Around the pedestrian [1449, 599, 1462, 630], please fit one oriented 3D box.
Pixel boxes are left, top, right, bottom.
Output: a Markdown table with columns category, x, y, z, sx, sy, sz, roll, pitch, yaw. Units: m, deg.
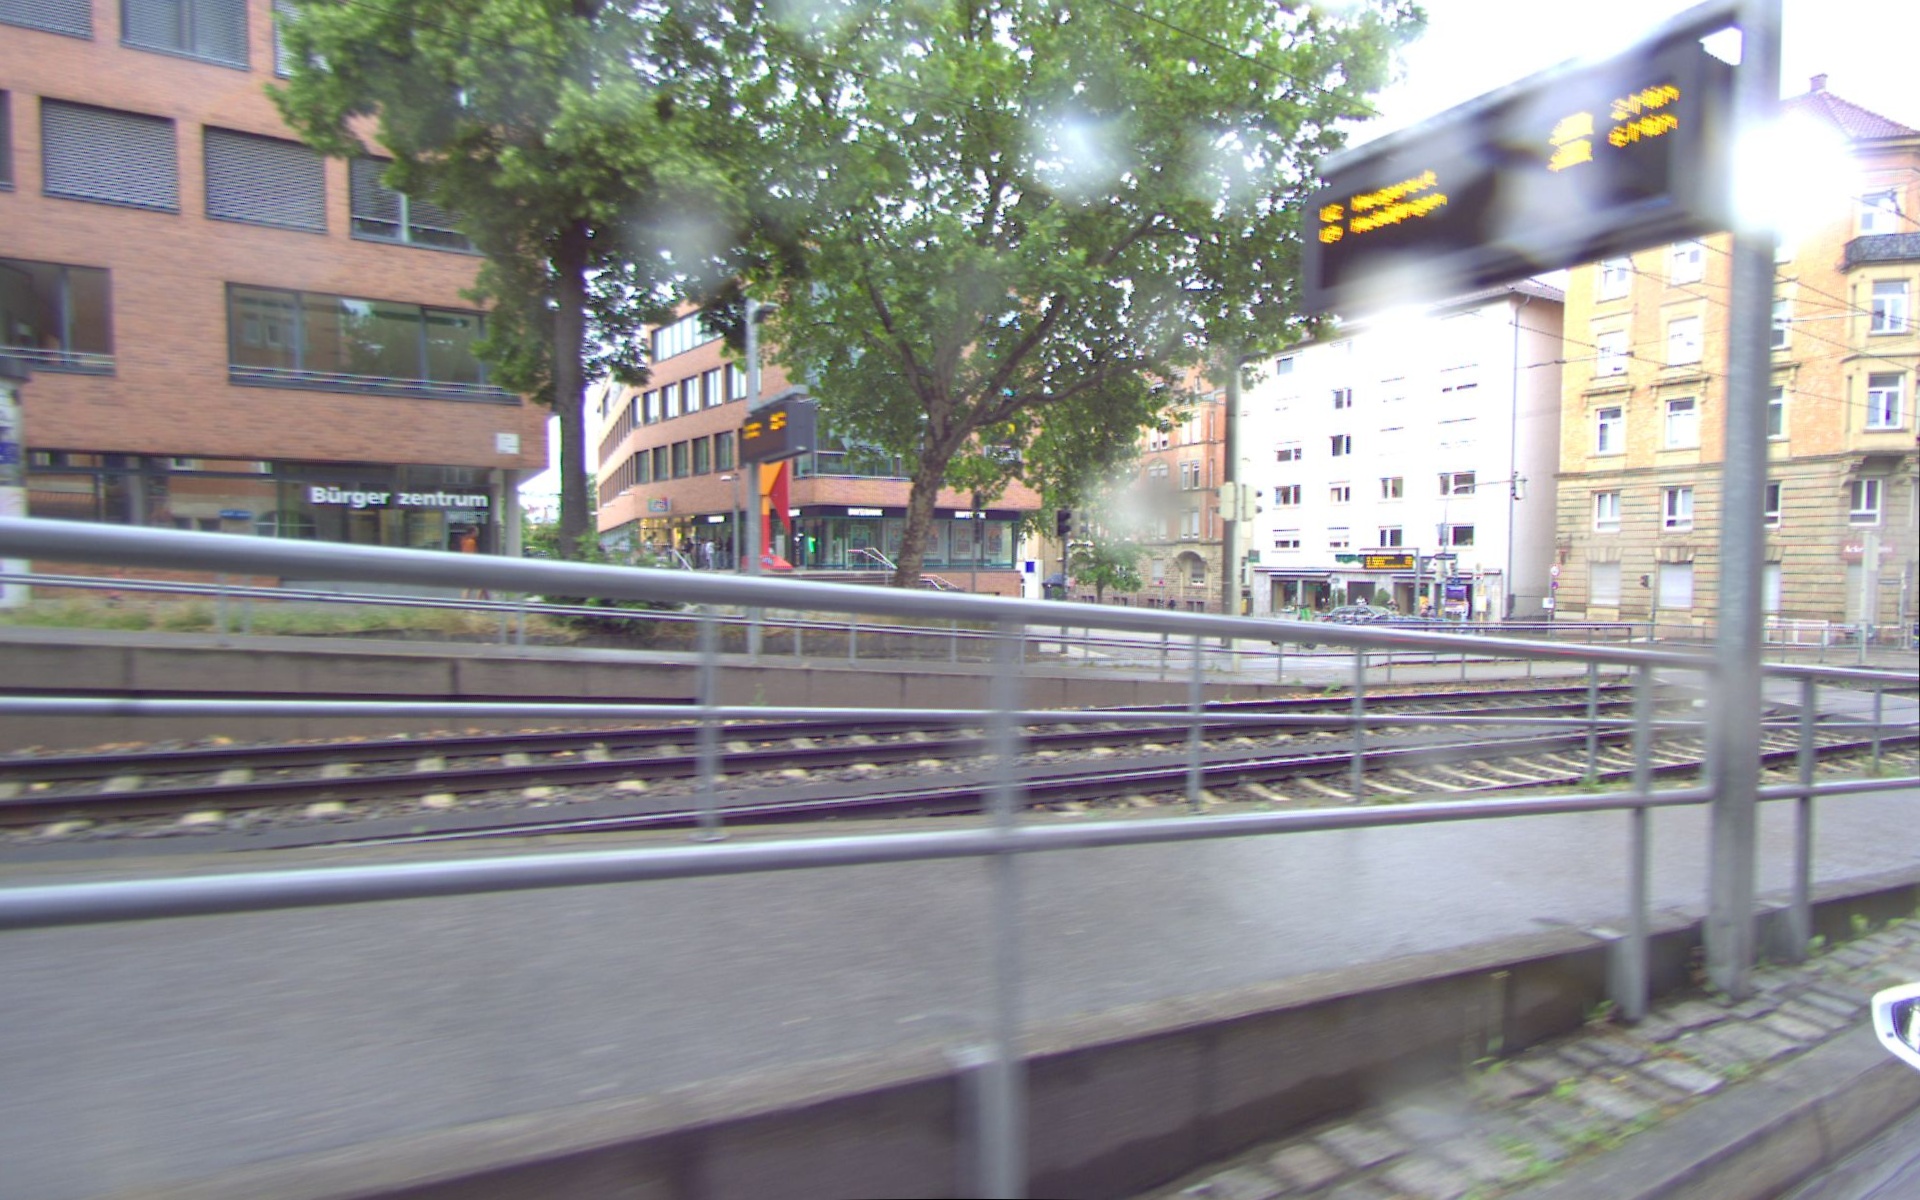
| category | x | y | z | sx | sy | sz | roll | pitch | yaw |
| --- | --- | --- | --- | --- | --- | --- | --- | --- | --- |
| pedestrian | 26.888 | 0.774 | 54.501 | 0.508 | 1.643 | 0.486 | 2 | 1 | 21 |

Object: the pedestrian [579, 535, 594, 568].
| category | x | y | z | sx | sy | sz | roll | pitch | yaw |
| --- | --- | --- | --- | --- | --- | --- | --- | --- | --- |
| pedestrian | -23.492 | -3.062 | 63.105 | 0.710 | 2.040 | 0.713 | 1 | 1 | -35 |

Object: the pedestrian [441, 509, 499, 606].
| category | x | y | z | sx | sy | sz | roll | pitch | yaw |
| --- | --- | --- | --- | --- | --- | --- | --- | --- | --- |
| pedestrian | -10.614 | -0.905 | 21.775 | 0.972 | 2.041 | 0.727 | 1 | 1 | -38 |

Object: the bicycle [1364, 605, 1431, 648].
| category | x | y | z | sx | sy | sz | roll | pitch | yaw |
| --- | --- | --- | --- | --- | --- | --- | --- | --- | --- |
| bicycle | 12.959 | 0.773 | 29.813 | 0.514 | 1.158 | 1.751 | 1 | 1 | -40 |

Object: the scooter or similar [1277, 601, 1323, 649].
| category | x | y | z | sx | sy | sz | roll | pitch | yaw |
| --- | --- | --- | --- | --- | --- | --- | --- | --- | --- |
| scooter or similar | 9.045 | 0.654 | 26.727 | 1.089 | 1.211 | 0.362 | 2 | 1 | 9 |

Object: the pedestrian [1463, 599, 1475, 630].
| category | x | y | z | sx | sy | sz | roll | pitch | yaw |
| --- | --- | --- | --- | --- | --- | --- | --- | --- | --- |
| pedestrian | 27.354 | 0.786 | 53.983 | 0.508 | 1.643 | 0.486 | 2 | 1 | 21 |

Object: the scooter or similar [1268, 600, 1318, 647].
| category | x | y | z | sx | sy | sz | roll | pitch | yaw |
| --- | --- | --- | --- | --- | --- | --- | --- | --- | --- |
| scooter or similar | 9.071 | 0.634 | 27.390 | 1.226 | 1.211 | 0.299 | 2 | 1 | 9 |

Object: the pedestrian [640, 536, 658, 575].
| category | x | y | z | sx | sy | sz | roll | pitch | yaw |
| --- | --- | --- | --- | --- | --- | --- | --- | --- | --- |
| pedestrian | -16.671 | -2.370 | 53.814 | 0.710 | 2.040 | 0.713 | 1 | 1 | -35 |

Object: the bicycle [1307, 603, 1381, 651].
| category | x | y | z | sx | sy | sz | roll | pitch | yaw |
| --- | --- | --- | --- | --- | --- | --- | --- | --- | --- |
| bicycle | 10.608 | 0.727 | 27.803 | 0.514 | 1.211 | 1.854 | 1 | 1 | -40 |

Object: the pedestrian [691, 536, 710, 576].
| category | x | y | z | sx | sy | sz | roll | pitch | yaw |
| --- | --- | --- | --- | --- | --- | --- | --- | --- | --- |
| pedestrian | -13.697 | -2.306 | 53.064 | 0.715 | 2.040 | 0.708 | 1 | 1 | -42 |

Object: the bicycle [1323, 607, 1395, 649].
| category | x | y | z | sx | sy | sz | roll | pitch | yaw |
| --- | --- | --- | --- | --- | --- | --- | --- | --- | --- |
| bicycle | 11.318 | 0.777 | 28.553 | 0.514 | 1.076 | 1.854 | 1 | 1 | -41 |

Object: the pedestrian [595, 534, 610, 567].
| category | x | y | z | sx | sy | sz | roll | pitch | yaw |
| --- | --- | --- | --- | --- | --- | --- | --- | --- | --- |
| pedestrian | -22.524 | -3.087 | 63.250 | 0.710 | 2.041 | 0.714 | 1 | 1 | -34 |

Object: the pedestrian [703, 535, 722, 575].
| category | x | y | z | sx | sy | sz | roll | pitch | yaw |
| --- | --- | --- | --- | --- | --- | --- | --- | --- | --- |
| pedestrian | -12.898 | -2.349 | 52.306 | 0.710 | 2.040 | 0.713 | 1 | 1 | -35 |

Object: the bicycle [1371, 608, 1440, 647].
| category | x | y | z | sx | sy | sz | roll | pitch | yaw |
| --- | --- | --- | --- | --- | --- | --- | --- | --- | --- |
| bicycle | 13.472 | 0.808 | 30.411 | 0.514 | 1.079 | 1.854 | 1 | 1 | -40 |
